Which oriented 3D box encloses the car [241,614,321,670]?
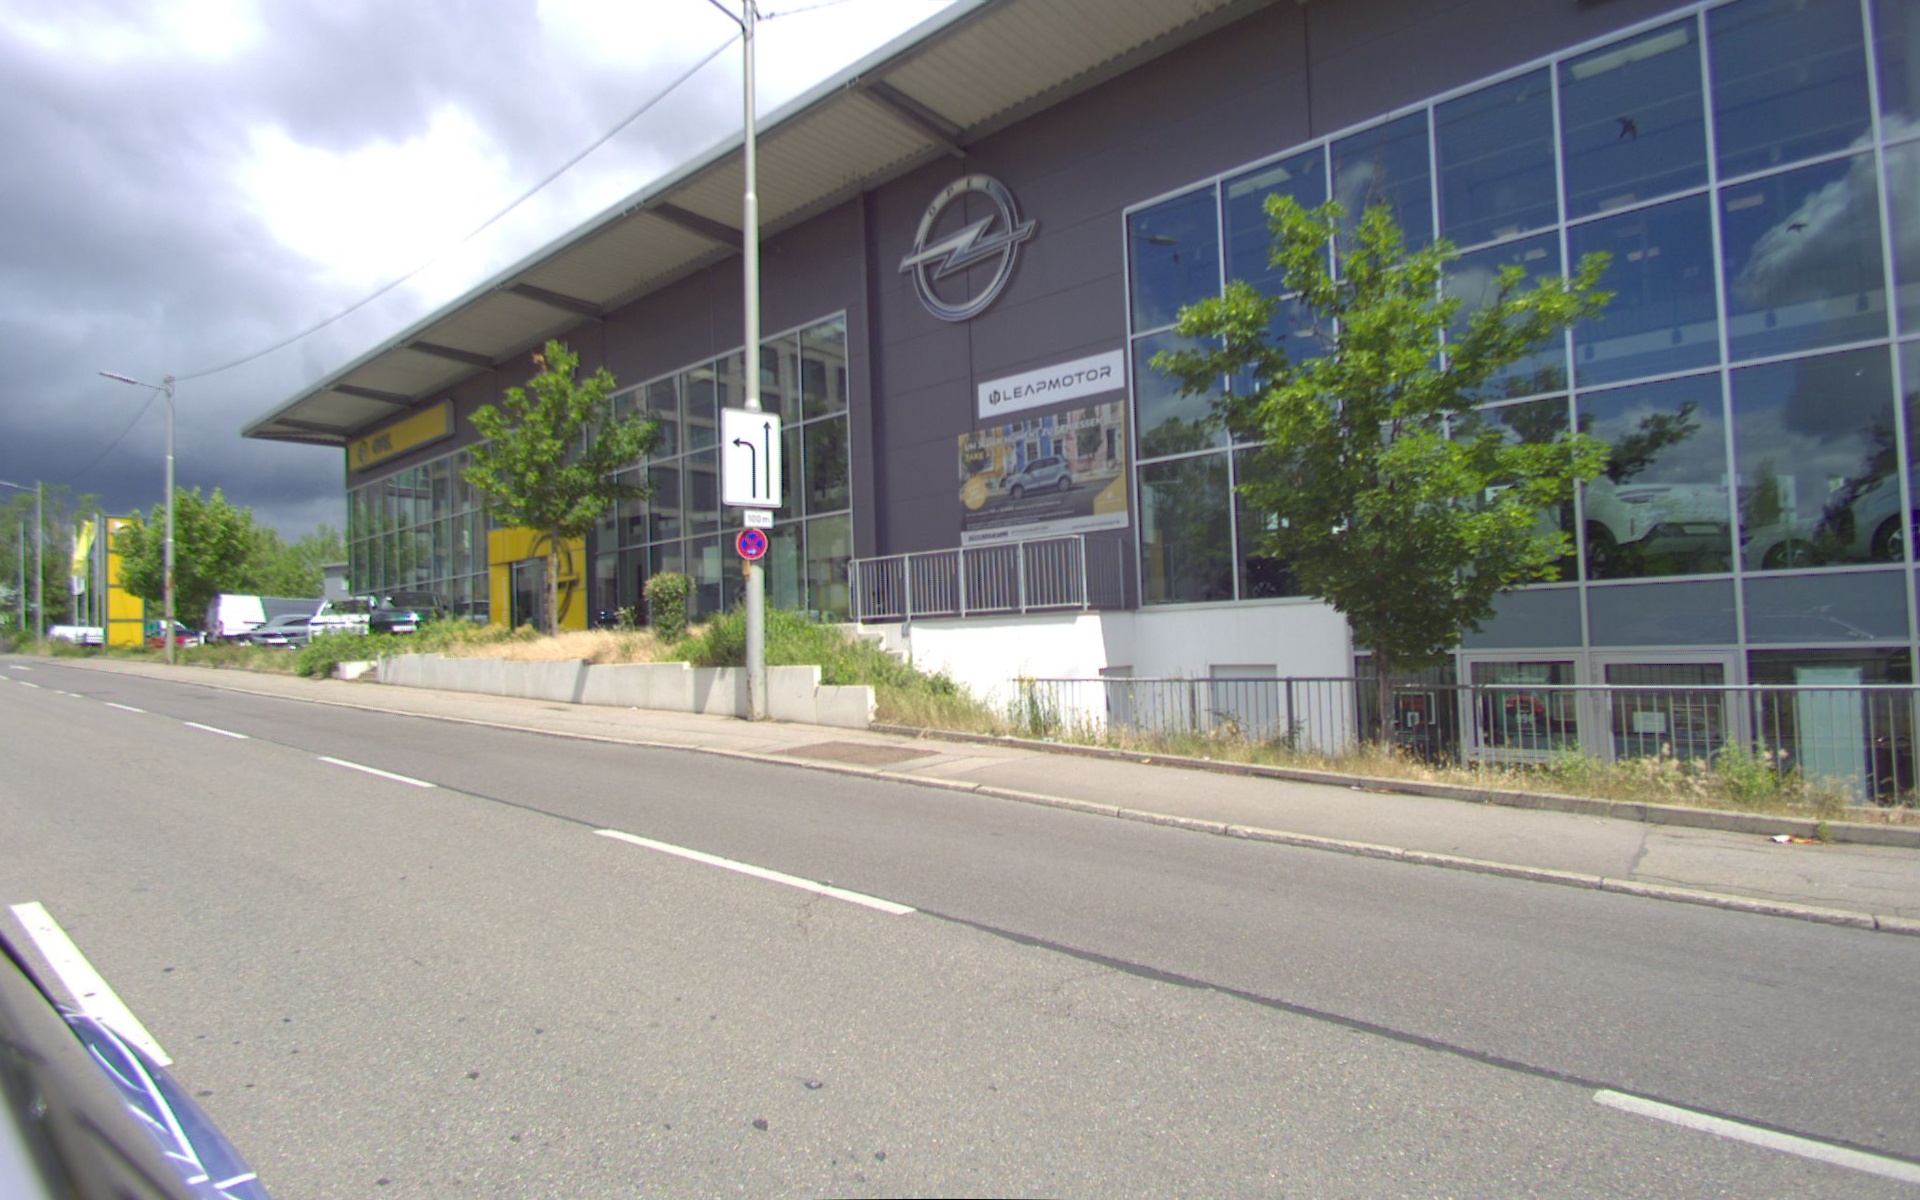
[{"bbox_3d":[-23.486,1.404,35.149,1.966,1.807,4.012,1,-1,-29],"label":"car"}]

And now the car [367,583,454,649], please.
[{"bbox_3d":[-15.695,0.469,28.799,1.966,1.741,4.011,1,-2,-31],"label":"car"}]

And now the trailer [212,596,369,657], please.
[{"bbox_3d":[-27.434,1.083,41.601,1.998,2.367,5.011,-1,-2,39],"label":"trailer"}]

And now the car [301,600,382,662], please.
[{"bbox_3d":[-19.221,0.945,31.587,1.966,1.807,4.012,1,-2,-29],"label":"car"}]
